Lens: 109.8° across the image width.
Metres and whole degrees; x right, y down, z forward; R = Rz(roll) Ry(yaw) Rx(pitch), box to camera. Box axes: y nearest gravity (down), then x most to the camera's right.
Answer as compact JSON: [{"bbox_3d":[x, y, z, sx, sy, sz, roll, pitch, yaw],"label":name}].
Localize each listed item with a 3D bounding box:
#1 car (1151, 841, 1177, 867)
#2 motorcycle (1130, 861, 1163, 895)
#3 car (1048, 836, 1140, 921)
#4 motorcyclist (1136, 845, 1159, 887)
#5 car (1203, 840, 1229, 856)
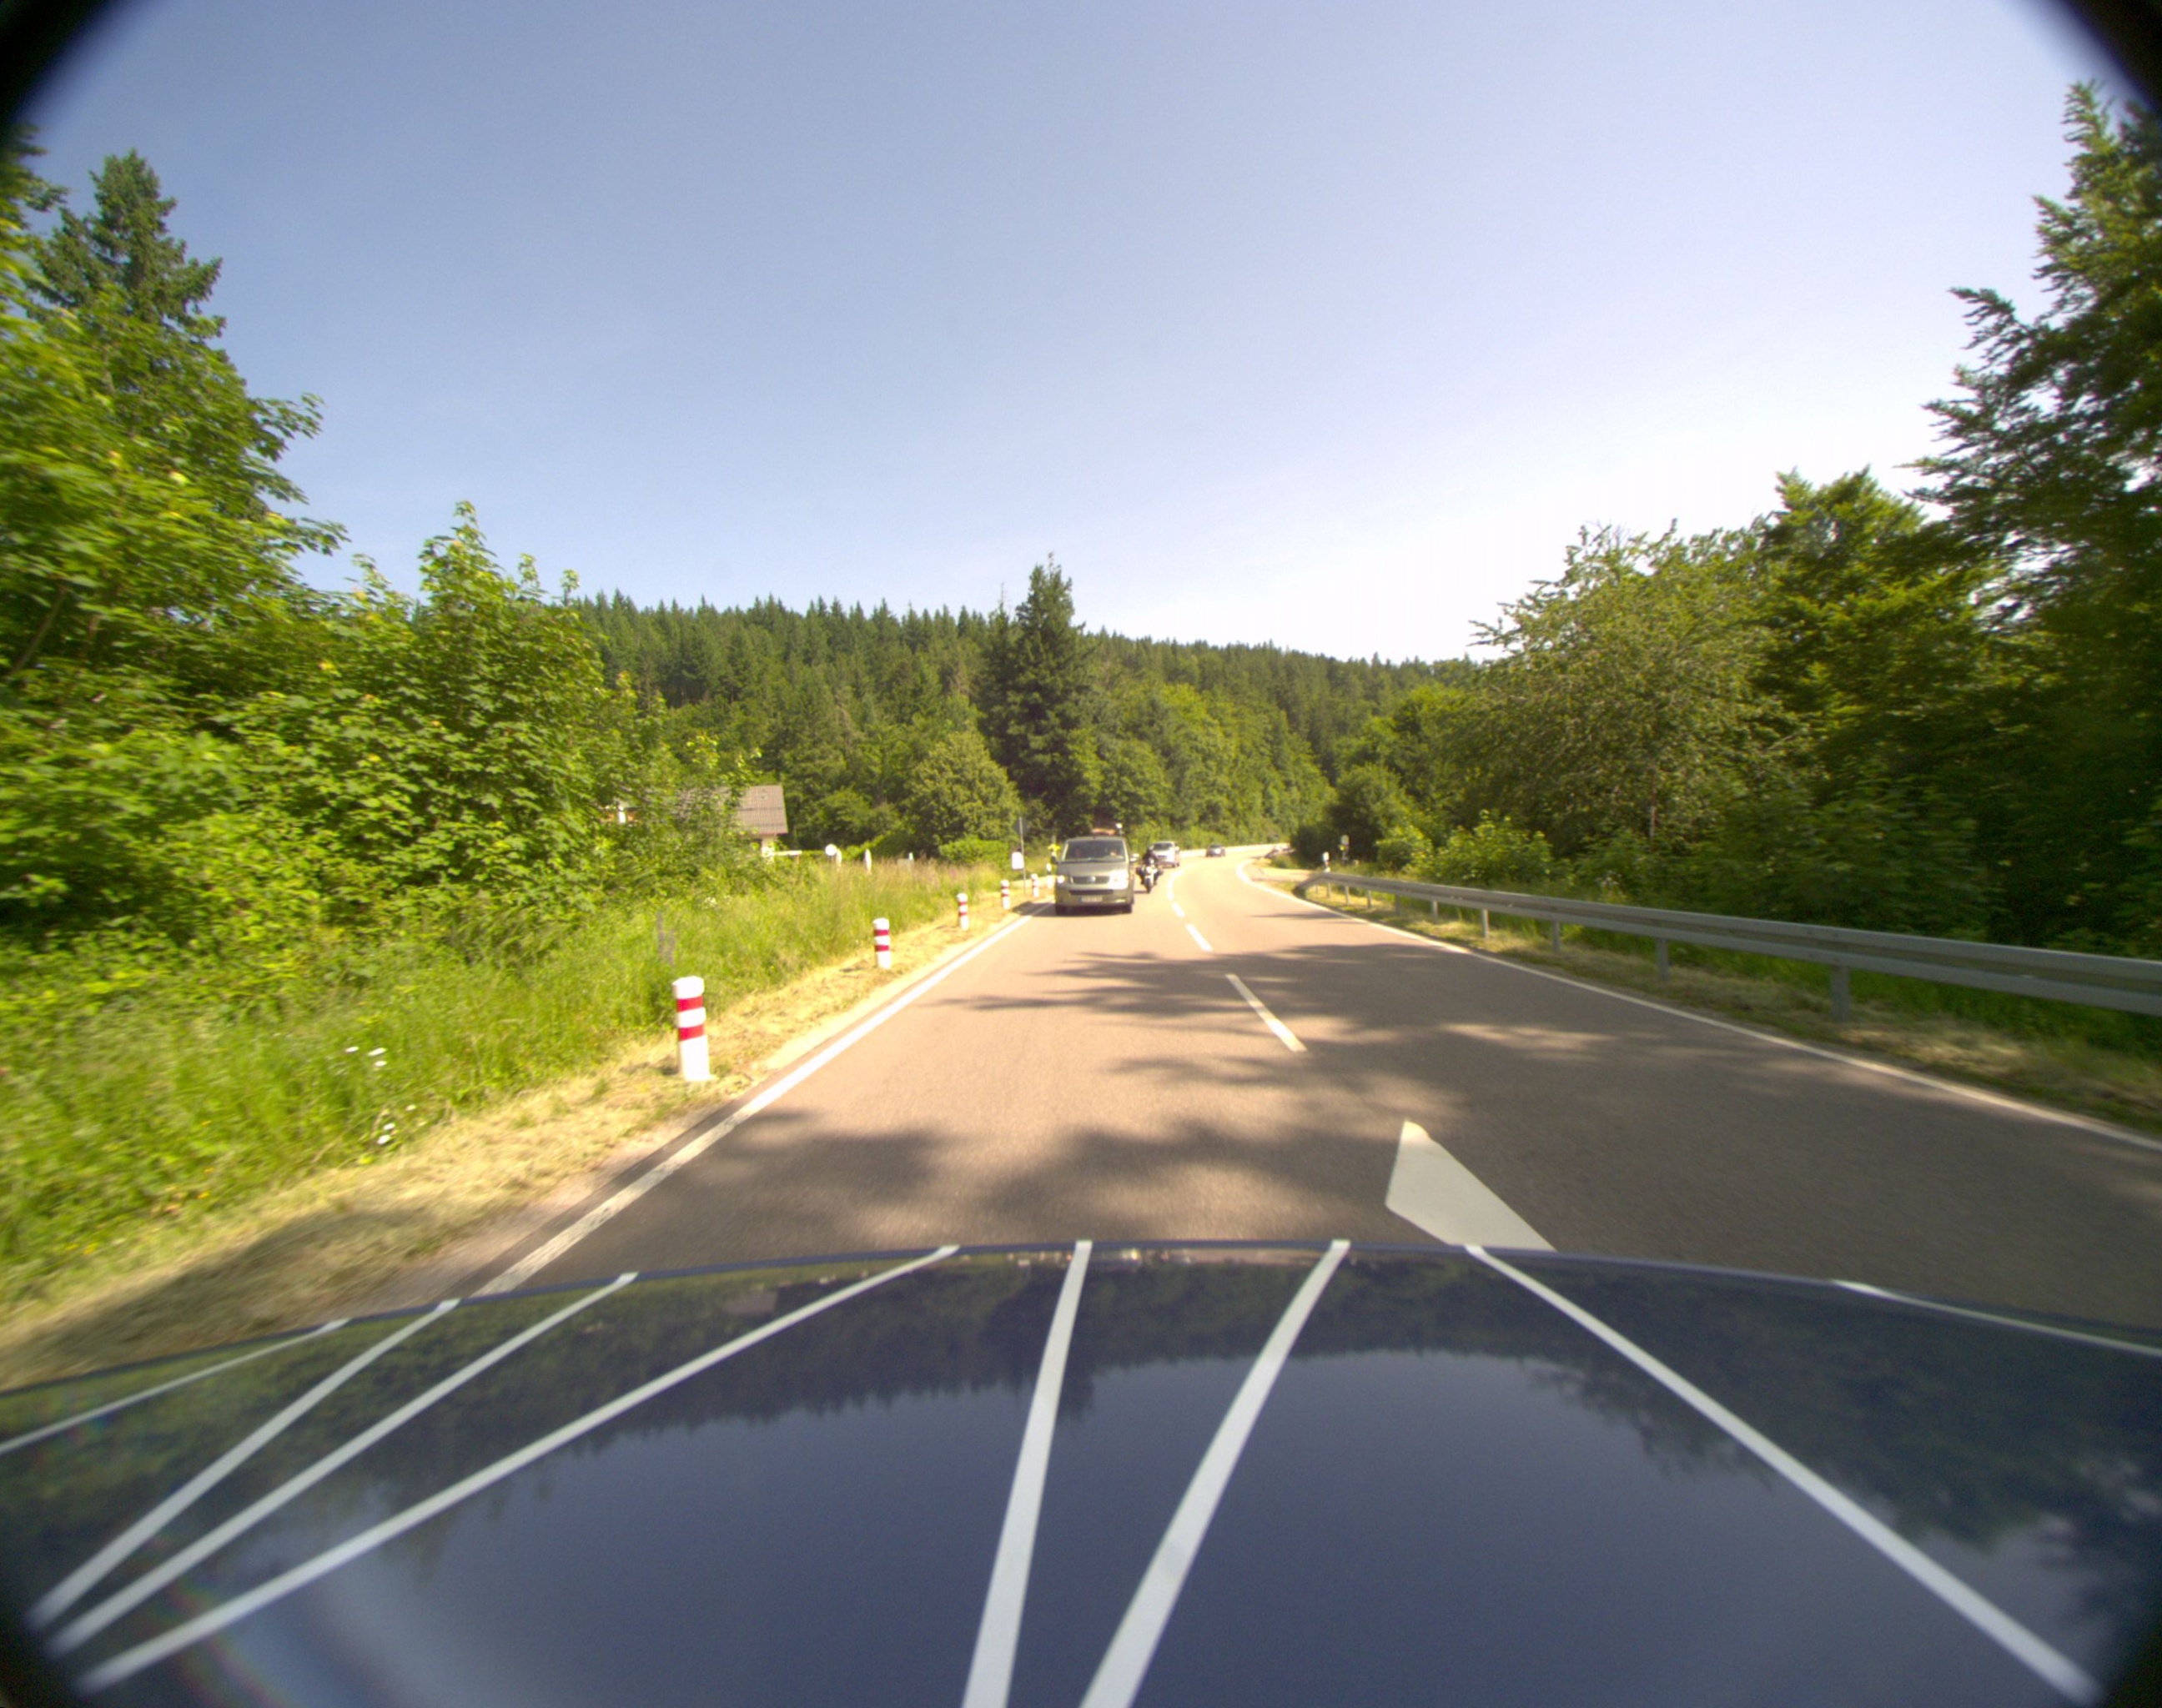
[{"bbox_3d":[5.969,-0.034,54.387,1.651,1.749,3.796,-1,2,9],"label":"car"},{"bbox_3d":[2.356,0.833,27.062,1.109,1.117,1.961,-1,1,7],"label":"motorcycle"},{"bbox_3d":[0.487,0.540,20.105,2.028,1.940,4.900,-1,1,6],"label":"car"},{"bbox_3d":[2.379,0.406,26.984,0.716,1.422,0.999,-3,0,6],"label":"motorcyclist"},{"bbox_3d":[14.987,-0.667,84.209,1.995,1.634,4.006,-2,1,22],"label":"car"}]
